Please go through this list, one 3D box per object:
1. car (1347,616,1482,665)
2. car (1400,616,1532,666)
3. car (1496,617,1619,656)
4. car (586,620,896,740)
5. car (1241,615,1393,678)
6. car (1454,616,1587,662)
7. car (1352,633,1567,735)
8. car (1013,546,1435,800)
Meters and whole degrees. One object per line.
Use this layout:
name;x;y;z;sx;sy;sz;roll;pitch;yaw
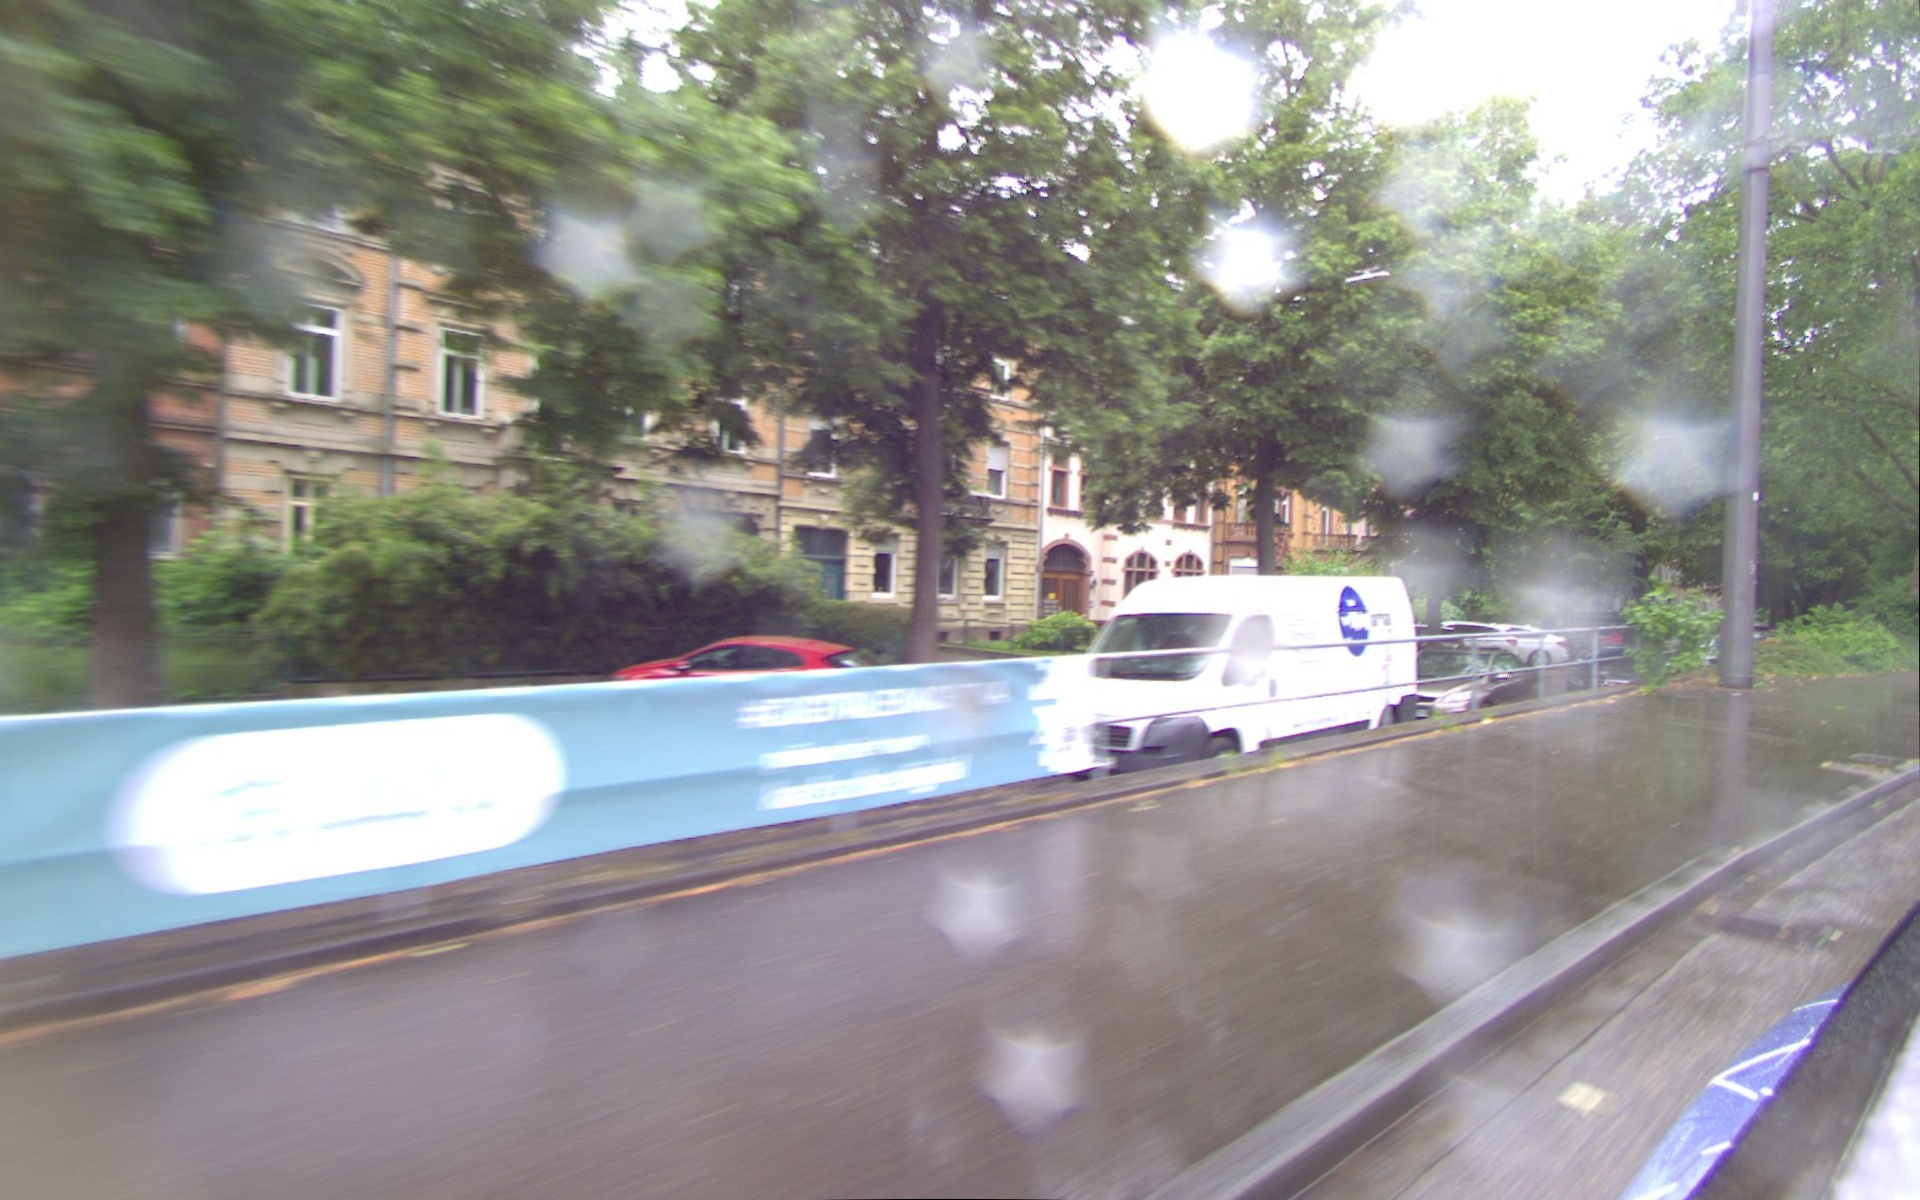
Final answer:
car;15.217;1.337;34.099;3.948;1.482;1.988;0;0;19
car;17.949;1.423;36.090;3.948;1.629;1.814;0;0;19
car;24.466;1.477;41.604;3.942;1.482;1.904;0;0;15
car;-3.381;1.152;15.792;4.373;1.471;1.888;2;1;18
car;10.223;1.275;29.005;3.958;1.523;1.645;1;2;25
car;20.948;1.445;37.993;3.942;1.585;1.991;0;0;15
car;8.625;1.321;17.303;4.312;1.370;1.968;0;0;-44
car;3.569;0.703;12.686;6.054;2.451;2.211;0;-1;-43
